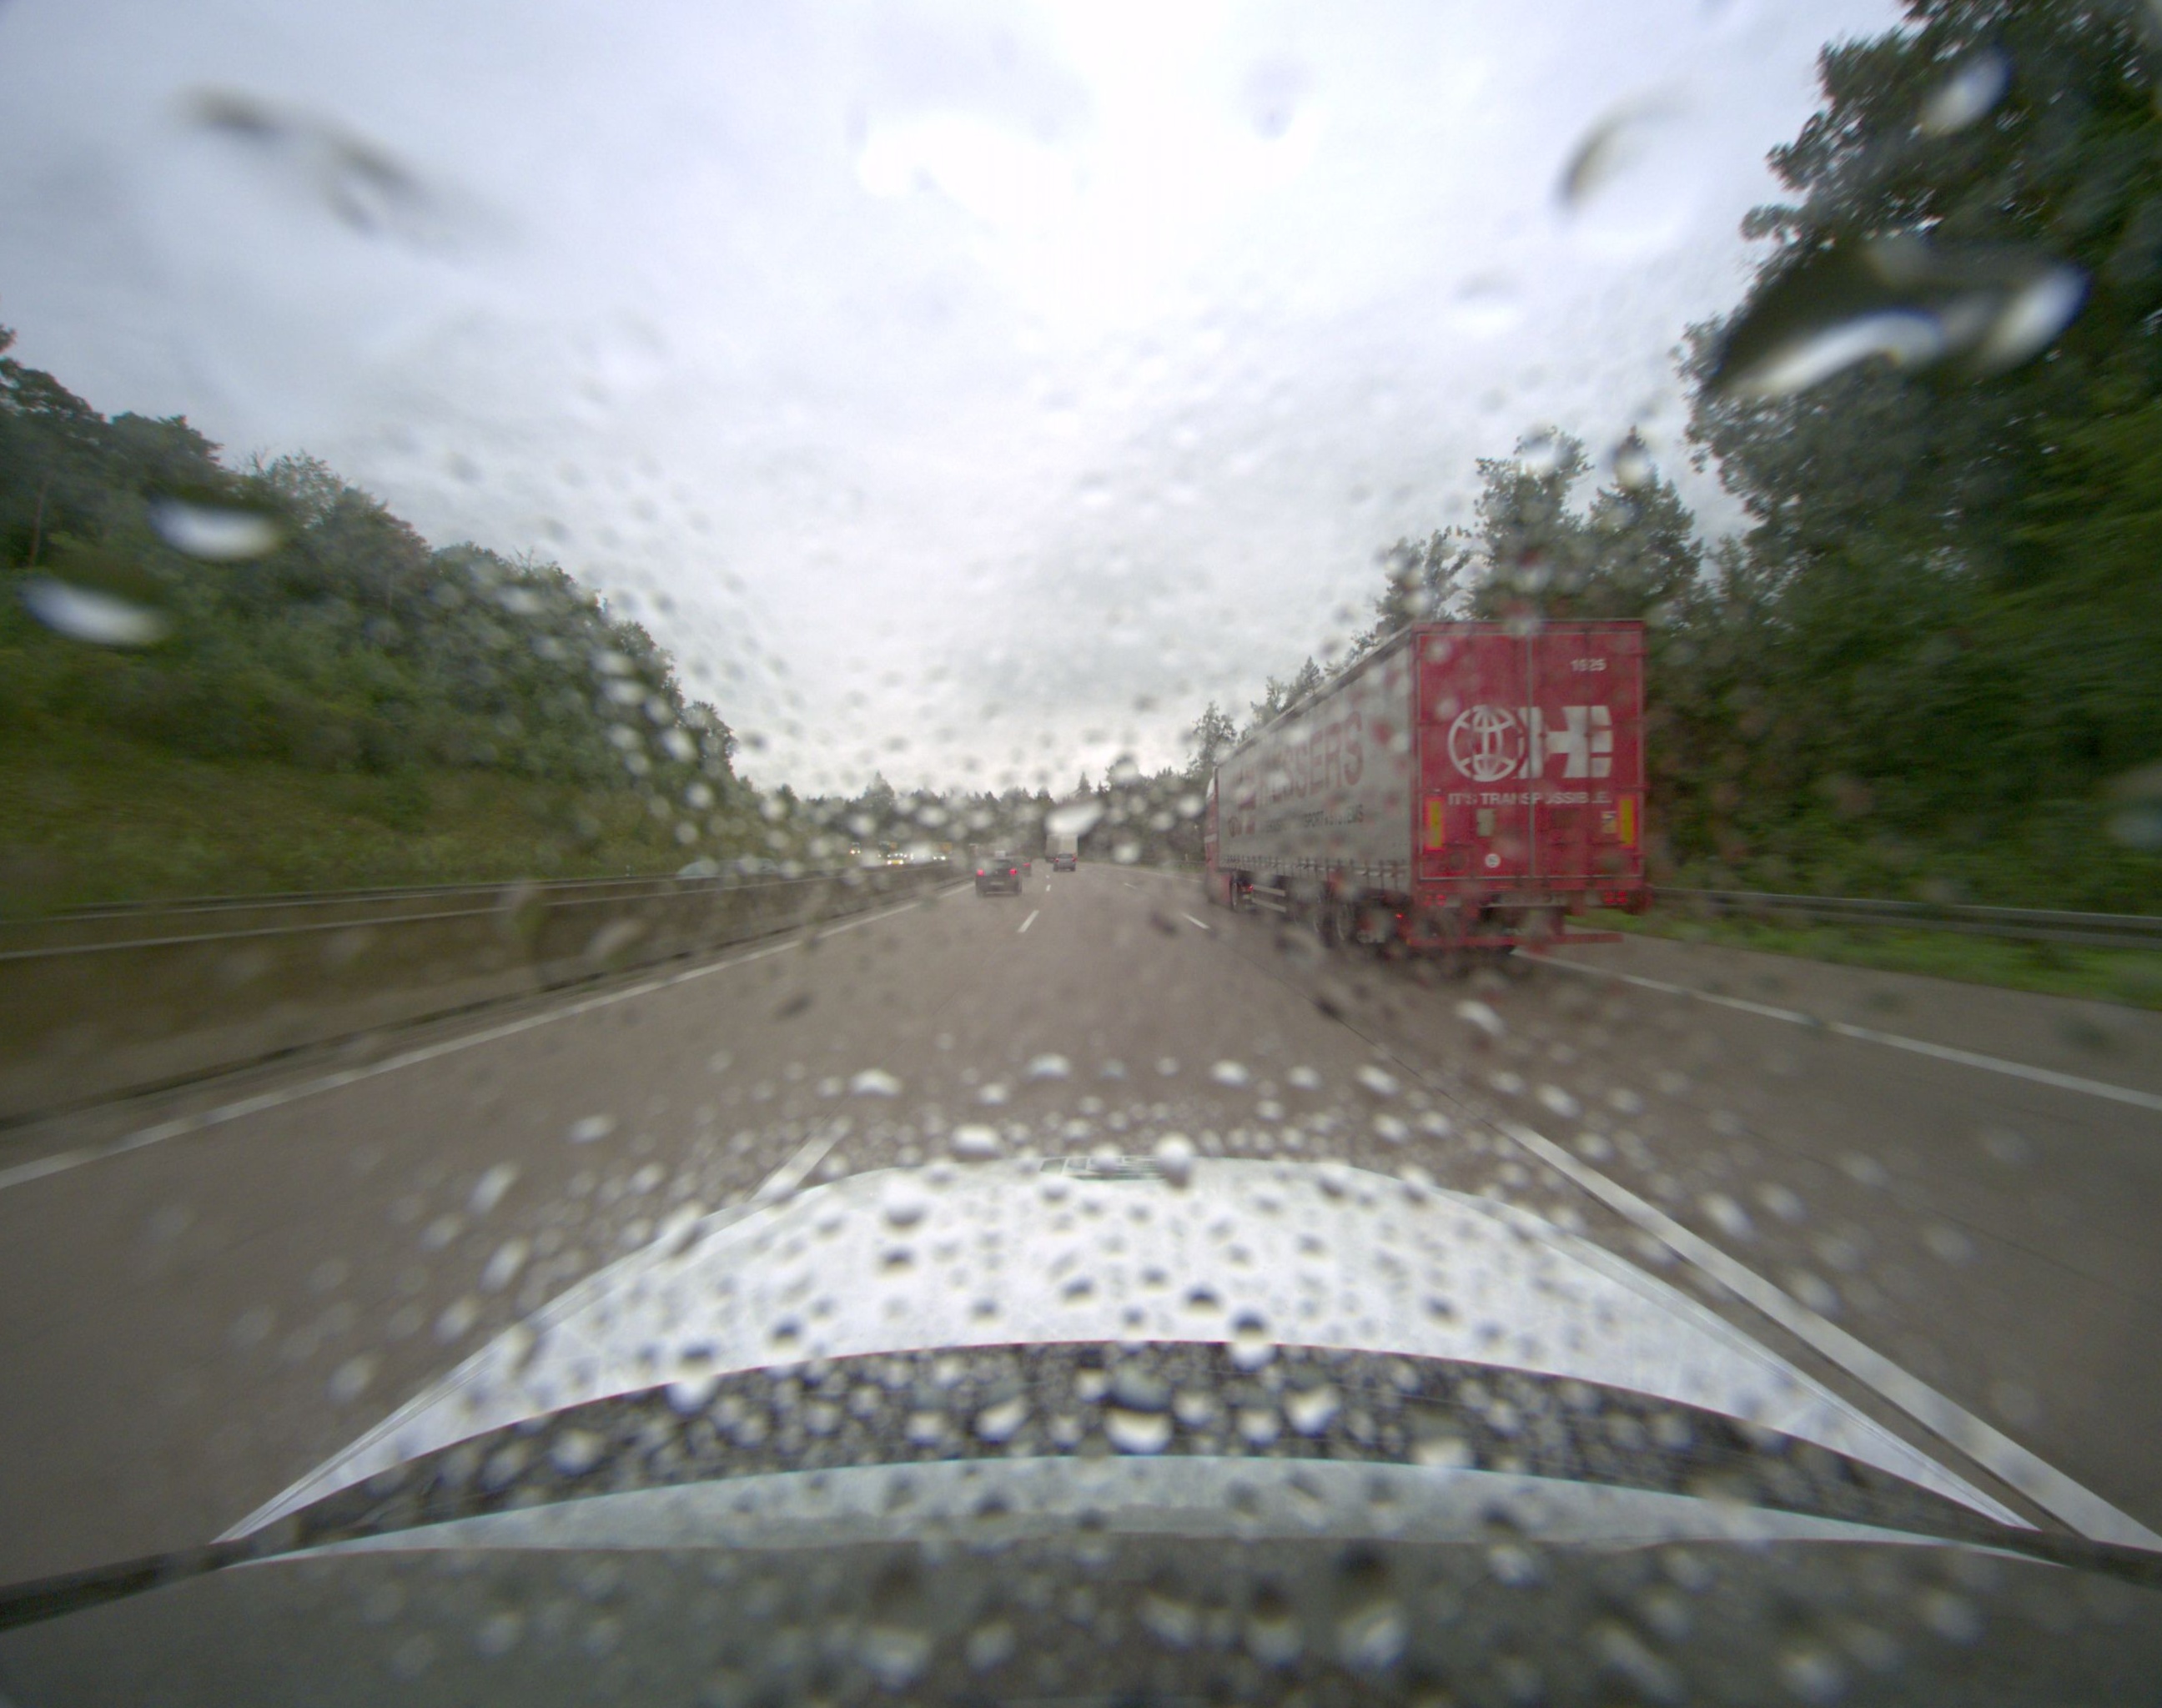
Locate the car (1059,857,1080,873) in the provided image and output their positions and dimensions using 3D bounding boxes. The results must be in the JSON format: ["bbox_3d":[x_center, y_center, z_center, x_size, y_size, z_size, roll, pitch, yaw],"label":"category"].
[{"bbox_3d":[-0.976,0.933,70.402,1.548,1.351,3.686,1,0,2],"label":"car"}]

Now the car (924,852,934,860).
[{"bbox_3d":[-33.517,0.510,180.214,1.993,1.768,4.523,-1,0,-9],"label":"car"}]

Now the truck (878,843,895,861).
[{"bbox_3d":[-43.429,-0.416,182.452,2.926,3.960,8.094,-1,0,-8],"label":"truck"}]

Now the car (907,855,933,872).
[{"bbox_3d":[-15.375,0.869,77.798,1.860,1.548,3.995,-1,0,-3],"label":"car"}]

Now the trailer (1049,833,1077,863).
[{"bbox_3d":[-2.615,-0.847,115.644,2.419,4.068,12.019,0,1,-9],"label":"trailer"}]

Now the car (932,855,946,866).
[{"bbox_3d":[-21.862,0.959,125.511,1.739,1.561,4.276,-1,0,-5],"label":"car"}]

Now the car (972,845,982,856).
[{"bbox_3d":[-20.418,-0.611,160.161,1.992,2.059,3.989,-1,0,-8],"label":"car"}]

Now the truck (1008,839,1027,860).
[{"bbox_3d":[-13.222,-0.950,168.794,3.366,4.131,10.411,0,1,-7],"label":"truck"}]

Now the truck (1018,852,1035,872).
[{"bbox_3d":[-8.817,1.275,130.359,2.267,2.886,7.884,0,1,-7],"label":"truck"}]

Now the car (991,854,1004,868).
[{"bbox_3d":[-11.869,1.003,115.792,1.722,2.013,3.651,-1,0,-5],"label":"car"}]

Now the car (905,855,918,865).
[{"bbox_3d":[-27.931,0.989,134.365,1.808,1.684,3.989,-1,0,-8],"label":"car"}]

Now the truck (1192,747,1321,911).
[{"bbox_3d":[4.692,-0.612,22.893,2.366,3.954,6.161,-1,0,1],"label":"truck"}]

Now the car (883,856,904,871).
[{"bbox_3d":[-19.579,0.994,85.138,1.571,1.487,4.277,-1,0,-5],"label":"car"}]

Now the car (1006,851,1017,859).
[{"bbox_3d":[-12.542,0.156,147.026,1.879,1.473,3.993,1,0,-5],"label":"car"}]

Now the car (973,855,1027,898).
[{"bbox_3d":[-3.052,0.821,31.395,1.678,1.462,3.683,1,0,0],"label":"car"}]

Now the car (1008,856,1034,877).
[{"bbox_3d":[-4.147,0.859,56.952,1.549,1.351,3.682,1,0,-1],"label":"car"}]

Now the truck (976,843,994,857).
[{"bbox_3d":[-22.204,-0.967,187.934,3.087,2.905,7.866,0,1,-14],"label":"truck"}]

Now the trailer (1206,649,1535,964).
[{"bbox_3d":[4.625,-0.603,16.588,2.362,3.954,12.521,-1,0,1],"label":"trailer"}]

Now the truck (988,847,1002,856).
[{"bbox_3d":[-21.102,-0.633,199.837,2.973,2.309,6.648,2,0,-8],"label":"truck"}]

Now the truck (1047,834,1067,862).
[{"bbox_3d":[-3.697,-0.952,122.695,2.419,4.068,4.964,0,1,-9],"label":"truck"}]

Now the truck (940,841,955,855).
[{"bbox_3d":[-41.507,-1.913,253.083,3.750,4.209,6.777,-1,0,-18],"label":"truck"}]
